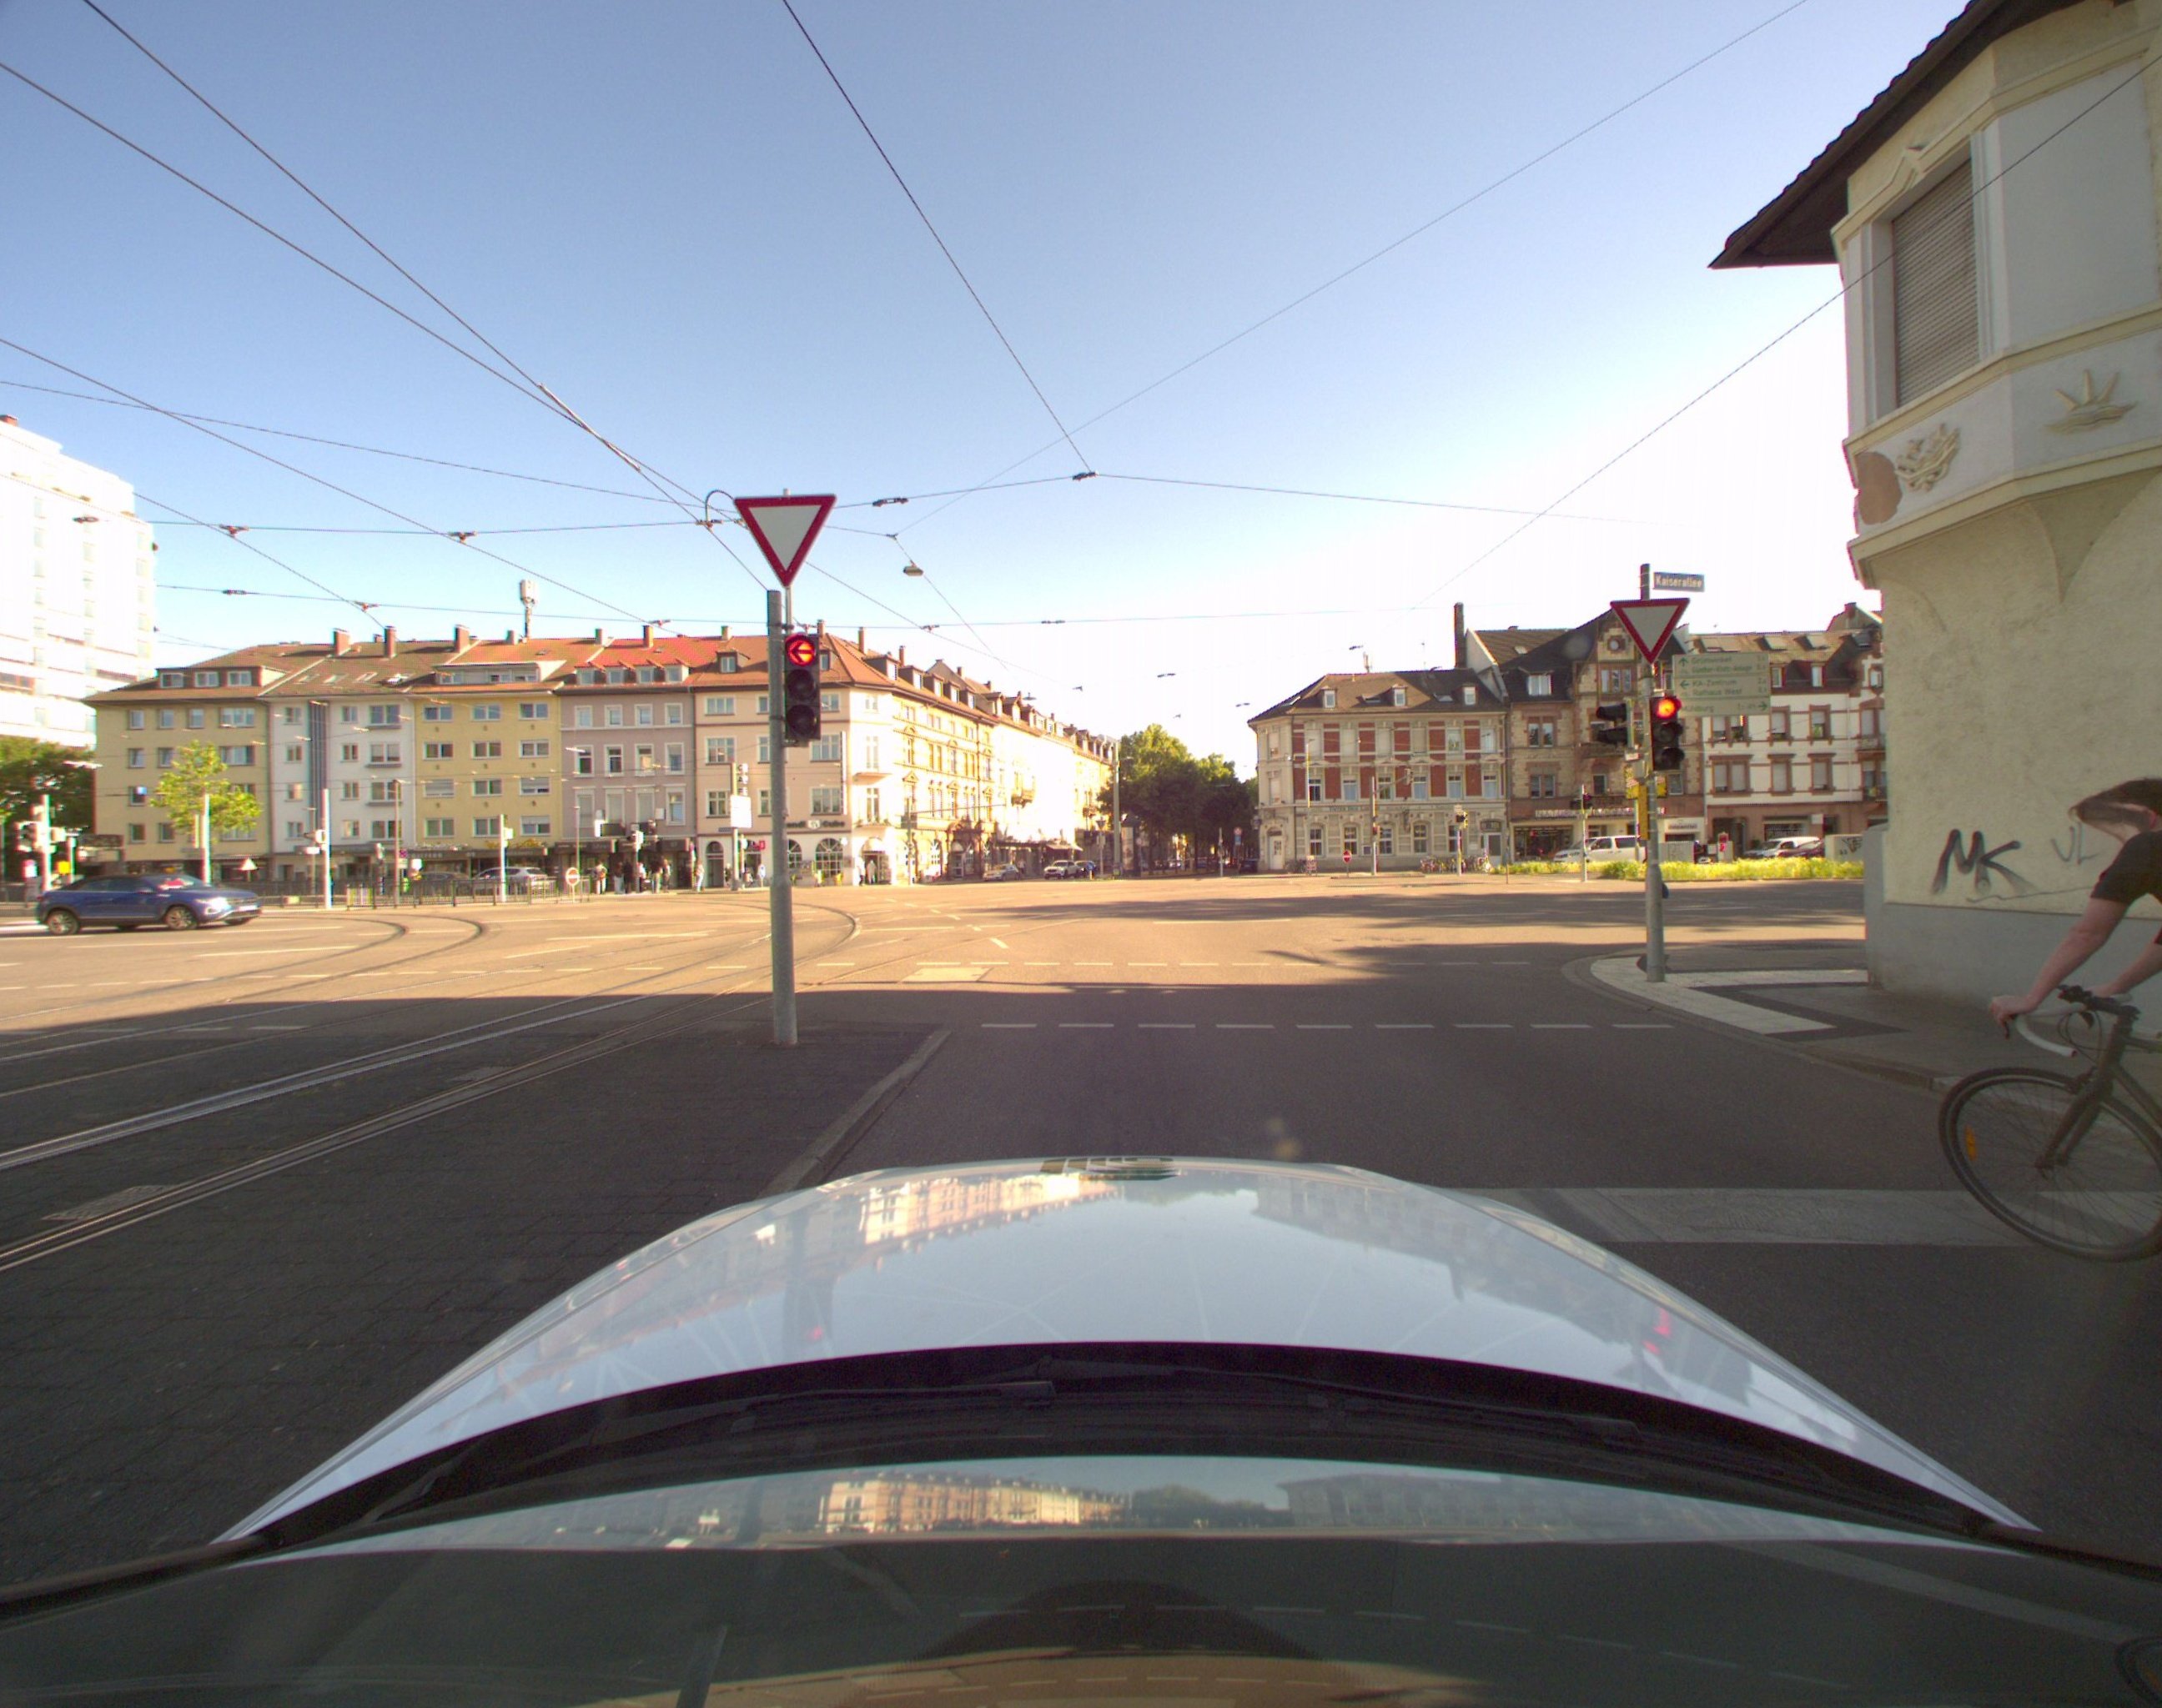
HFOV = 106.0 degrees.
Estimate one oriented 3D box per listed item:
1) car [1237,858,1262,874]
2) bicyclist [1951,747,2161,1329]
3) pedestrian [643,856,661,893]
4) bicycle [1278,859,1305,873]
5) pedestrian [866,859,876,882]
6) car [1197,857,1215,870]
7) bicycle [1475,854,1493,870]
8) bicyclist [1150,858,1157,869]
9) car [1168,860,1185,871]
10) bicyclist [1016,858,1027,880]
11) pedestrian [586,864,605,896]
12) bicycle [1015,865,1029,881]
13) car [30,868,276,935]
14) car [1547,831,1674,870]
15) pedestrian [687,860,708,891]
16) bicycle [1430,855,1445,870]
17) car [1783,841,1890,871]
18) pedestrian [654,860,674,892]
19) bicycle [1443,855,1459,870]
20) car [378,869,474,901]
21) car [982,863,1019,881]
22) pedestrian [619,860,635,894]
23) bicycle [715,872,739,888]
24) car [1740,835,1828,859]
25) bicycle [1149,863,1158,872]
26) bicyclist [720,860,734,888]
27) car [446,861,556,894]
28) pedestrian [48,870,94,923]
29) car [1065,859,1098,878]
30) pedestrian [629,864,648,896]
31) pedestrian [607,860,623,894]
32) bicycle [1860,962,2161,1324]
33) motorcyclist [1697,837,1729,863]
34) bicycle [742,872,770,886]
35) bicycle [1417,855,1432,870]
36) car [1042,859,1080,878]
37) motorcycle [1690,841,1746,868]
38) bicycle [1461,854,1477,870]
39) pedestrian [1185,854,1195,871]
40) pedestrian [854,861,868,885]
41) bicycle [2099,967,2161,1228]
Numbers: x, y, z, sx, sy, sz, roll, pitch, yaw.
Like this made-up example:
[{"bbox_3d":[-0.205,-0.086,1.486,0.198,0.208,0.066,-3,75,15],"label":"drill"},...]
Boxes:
[{"bbox_3d":[17.050,1.175,82.263,1.741,1.556,4.021,-1,-1,22],"label":"car"},{"bbox_3d":[3.579,0.559,2.601,0.587,1.767,0.936,0,-1,2],"label":"bicyclist"},{"bbox_3d":[-21.603,1.040,40.978,0.525,1.823,0.677,0,-1,1],"label":"pedestrian"},{"bbox_3d":[14.707,0.829,56.913,1.789,0.963,0.606,-1,-1,16],"label":"bicycle"},{"bbox_3d":[-15.161,1.177,58.710,0.591,1.676,0.493,0,-1,-32],"label":"pedestrian"},{"bbox_3d":[17.882,1.353,116.365,1.978,1.684,4.018,-1,-1,17],"label":"car"},{"bbox_3d":[26.045,0.532,52.663,0.785,1.016,2.221,-1,-1,20],"label":"bicycle"},{"bbox_3d":[10.030,1.321,112.575,0.668,1.568,0.751,-1,-1,20],"label":"bicyclist"},{"bbox_3d":[13.847,1.703,118.133,1.788,1.575,3.908,-1,-1,17],"label":"car"},{"bbox_3d":[-4.763,1.208,65.412,0.561,1.804,0.918,-1,-1,17],"label":"bicyclist"},{"bbox_3d":[-25.084,1.328,42.076,0.582,1.648,0.616,0,-1,1],"label":"pedestrian"},{"bbox_3d":[-4.754,1.489,65.401,0.561,1.254,1.564,-1,-1,17],"label":"bicycle"},{"bbox_3d":[-24.778,1.229,21.905,4.180,1.575,1.827,-1,0,-7],"label":"car"},{"bbox_3d":[27.146,-0.159,41.867,5.177,1.854,2.002,-1,0,3],"label":"car"},{"bbox_3d":[-19.797,1.121,42.070,0.666,1.594,0.815,0,-1,1],"label":"pedestrian"},{"bbox_3d":[23.259,0.569,53.085,0.758,0.968,2.221,-1,-1,20],"label":"bicycle"},{"bbox_3d":[37.905,0.105,40.930,3.854,1.426,1.596,-1,0,2],"label":"car"},{"bbox_3d":[-21.549,1.113,42.045,0.580,1.648,0.840,0,-1,1],"label":"pedestrian"},{"bbox_3d":[24.046,0.563,52.962,0.758,0.983,2.221,-1,-1,20],"label":"bicycle"},{"bbox_3d":[-38.794,1.827,48.276,4.213,1.773,1.818,0,-1,1],"label":"car"},{"bbox_3d":[-6.624,1.476,67.327,1.647,1.374,3.909,-1,-1,17],"label":"car"},{"bbox_3d":[-22.573,1.139,40.483,0.520,1.648,0.498,0,-1,1],"label":"pedestrian"},{"bbox_3d":[-23.008,1.686,52.935,0.618,1.030,1.758,0,-1,7],"label":"bicycle"},{"bbox_3d":[45.181,-0.443,52.427,3.961,1.438,1.874,0,-1,5],"label":"car"},{"bbox_3d":[10.033,1.822,112.567,0.668,1.207,1.831,-1,-1,20],"label":"bicycle"},{"bbox_3d":[-23.007,1.303,52.945,0.618,1.790,0.616,0,-1,7],"label":"bicyclist"},{"bbox_3d":[-32.155,1.284,45.253,4.665,1.734,1.833,0,-1,-4],"label":"car"},{"bbox_3d":[-31.579,1.316,25.469,0.605,1.609,0.770,-1,-1,26],"label":"pedestrian"},{"bbox_3d":[0.070,1.291,73.770,1.809,1.685,3.893,-1,-1,18],"label":"car"},{"bbox_3d":[-22.923,1.321,42.230,0.571,1.648,0.727,0,-1,1],"label":"pedestrian"},{"bbox_3d":[-23.188,1.144,40.541,0.520,1.648,0.498,0,-1,1],"label":"pedestrian"},{"bbox_3d":[3.584,0.958,2.620,0.480,0.991,1.783,0,-1,2],"label":"bicycle"},{"bbox_3d":[32.228,-0.204,41.518,1.009,1.300,0.790,0,-1,6],"label":"motorcyclist"},{"bbox_3d":[-22.989,1.756,57.599,1.694,0.983,0.611,0,-1,1],"label":"bicycle"},{"bbox_3d":[22.504,0.576,53.352,0.758,0.963,2.221,-1,-1,20],"label":"bicycle"},{"bbox_3d":[-1.612,1.179,67.450,1.788,1.585,4.179,-1,-1,19],"label":"car"},{"bbox_3d":[32.427,0.019,41.494,2.124,1.333,0.798,0,-1,6],"label":"motorcycle"},{"bbox_3d":[25.175,0.541,52.833,0.758,1.007,2.231,-1,-1,20],"label":"bicycle"},{"bbox_3d":[13.543,1.050,101.291,0.964,2.014,0.913,0,-1,-18],"label":"pedestrian"},{"bbox_3d":[-15.090,1.293,55.862,0.562,1.642,0.797,-1,-1,25],"label":"pedestrian"},{"bbox_3d":[4.403,0.948,2.441,0.501,0.983,1.783,0,-1,2],"label":"bicycle"}]
